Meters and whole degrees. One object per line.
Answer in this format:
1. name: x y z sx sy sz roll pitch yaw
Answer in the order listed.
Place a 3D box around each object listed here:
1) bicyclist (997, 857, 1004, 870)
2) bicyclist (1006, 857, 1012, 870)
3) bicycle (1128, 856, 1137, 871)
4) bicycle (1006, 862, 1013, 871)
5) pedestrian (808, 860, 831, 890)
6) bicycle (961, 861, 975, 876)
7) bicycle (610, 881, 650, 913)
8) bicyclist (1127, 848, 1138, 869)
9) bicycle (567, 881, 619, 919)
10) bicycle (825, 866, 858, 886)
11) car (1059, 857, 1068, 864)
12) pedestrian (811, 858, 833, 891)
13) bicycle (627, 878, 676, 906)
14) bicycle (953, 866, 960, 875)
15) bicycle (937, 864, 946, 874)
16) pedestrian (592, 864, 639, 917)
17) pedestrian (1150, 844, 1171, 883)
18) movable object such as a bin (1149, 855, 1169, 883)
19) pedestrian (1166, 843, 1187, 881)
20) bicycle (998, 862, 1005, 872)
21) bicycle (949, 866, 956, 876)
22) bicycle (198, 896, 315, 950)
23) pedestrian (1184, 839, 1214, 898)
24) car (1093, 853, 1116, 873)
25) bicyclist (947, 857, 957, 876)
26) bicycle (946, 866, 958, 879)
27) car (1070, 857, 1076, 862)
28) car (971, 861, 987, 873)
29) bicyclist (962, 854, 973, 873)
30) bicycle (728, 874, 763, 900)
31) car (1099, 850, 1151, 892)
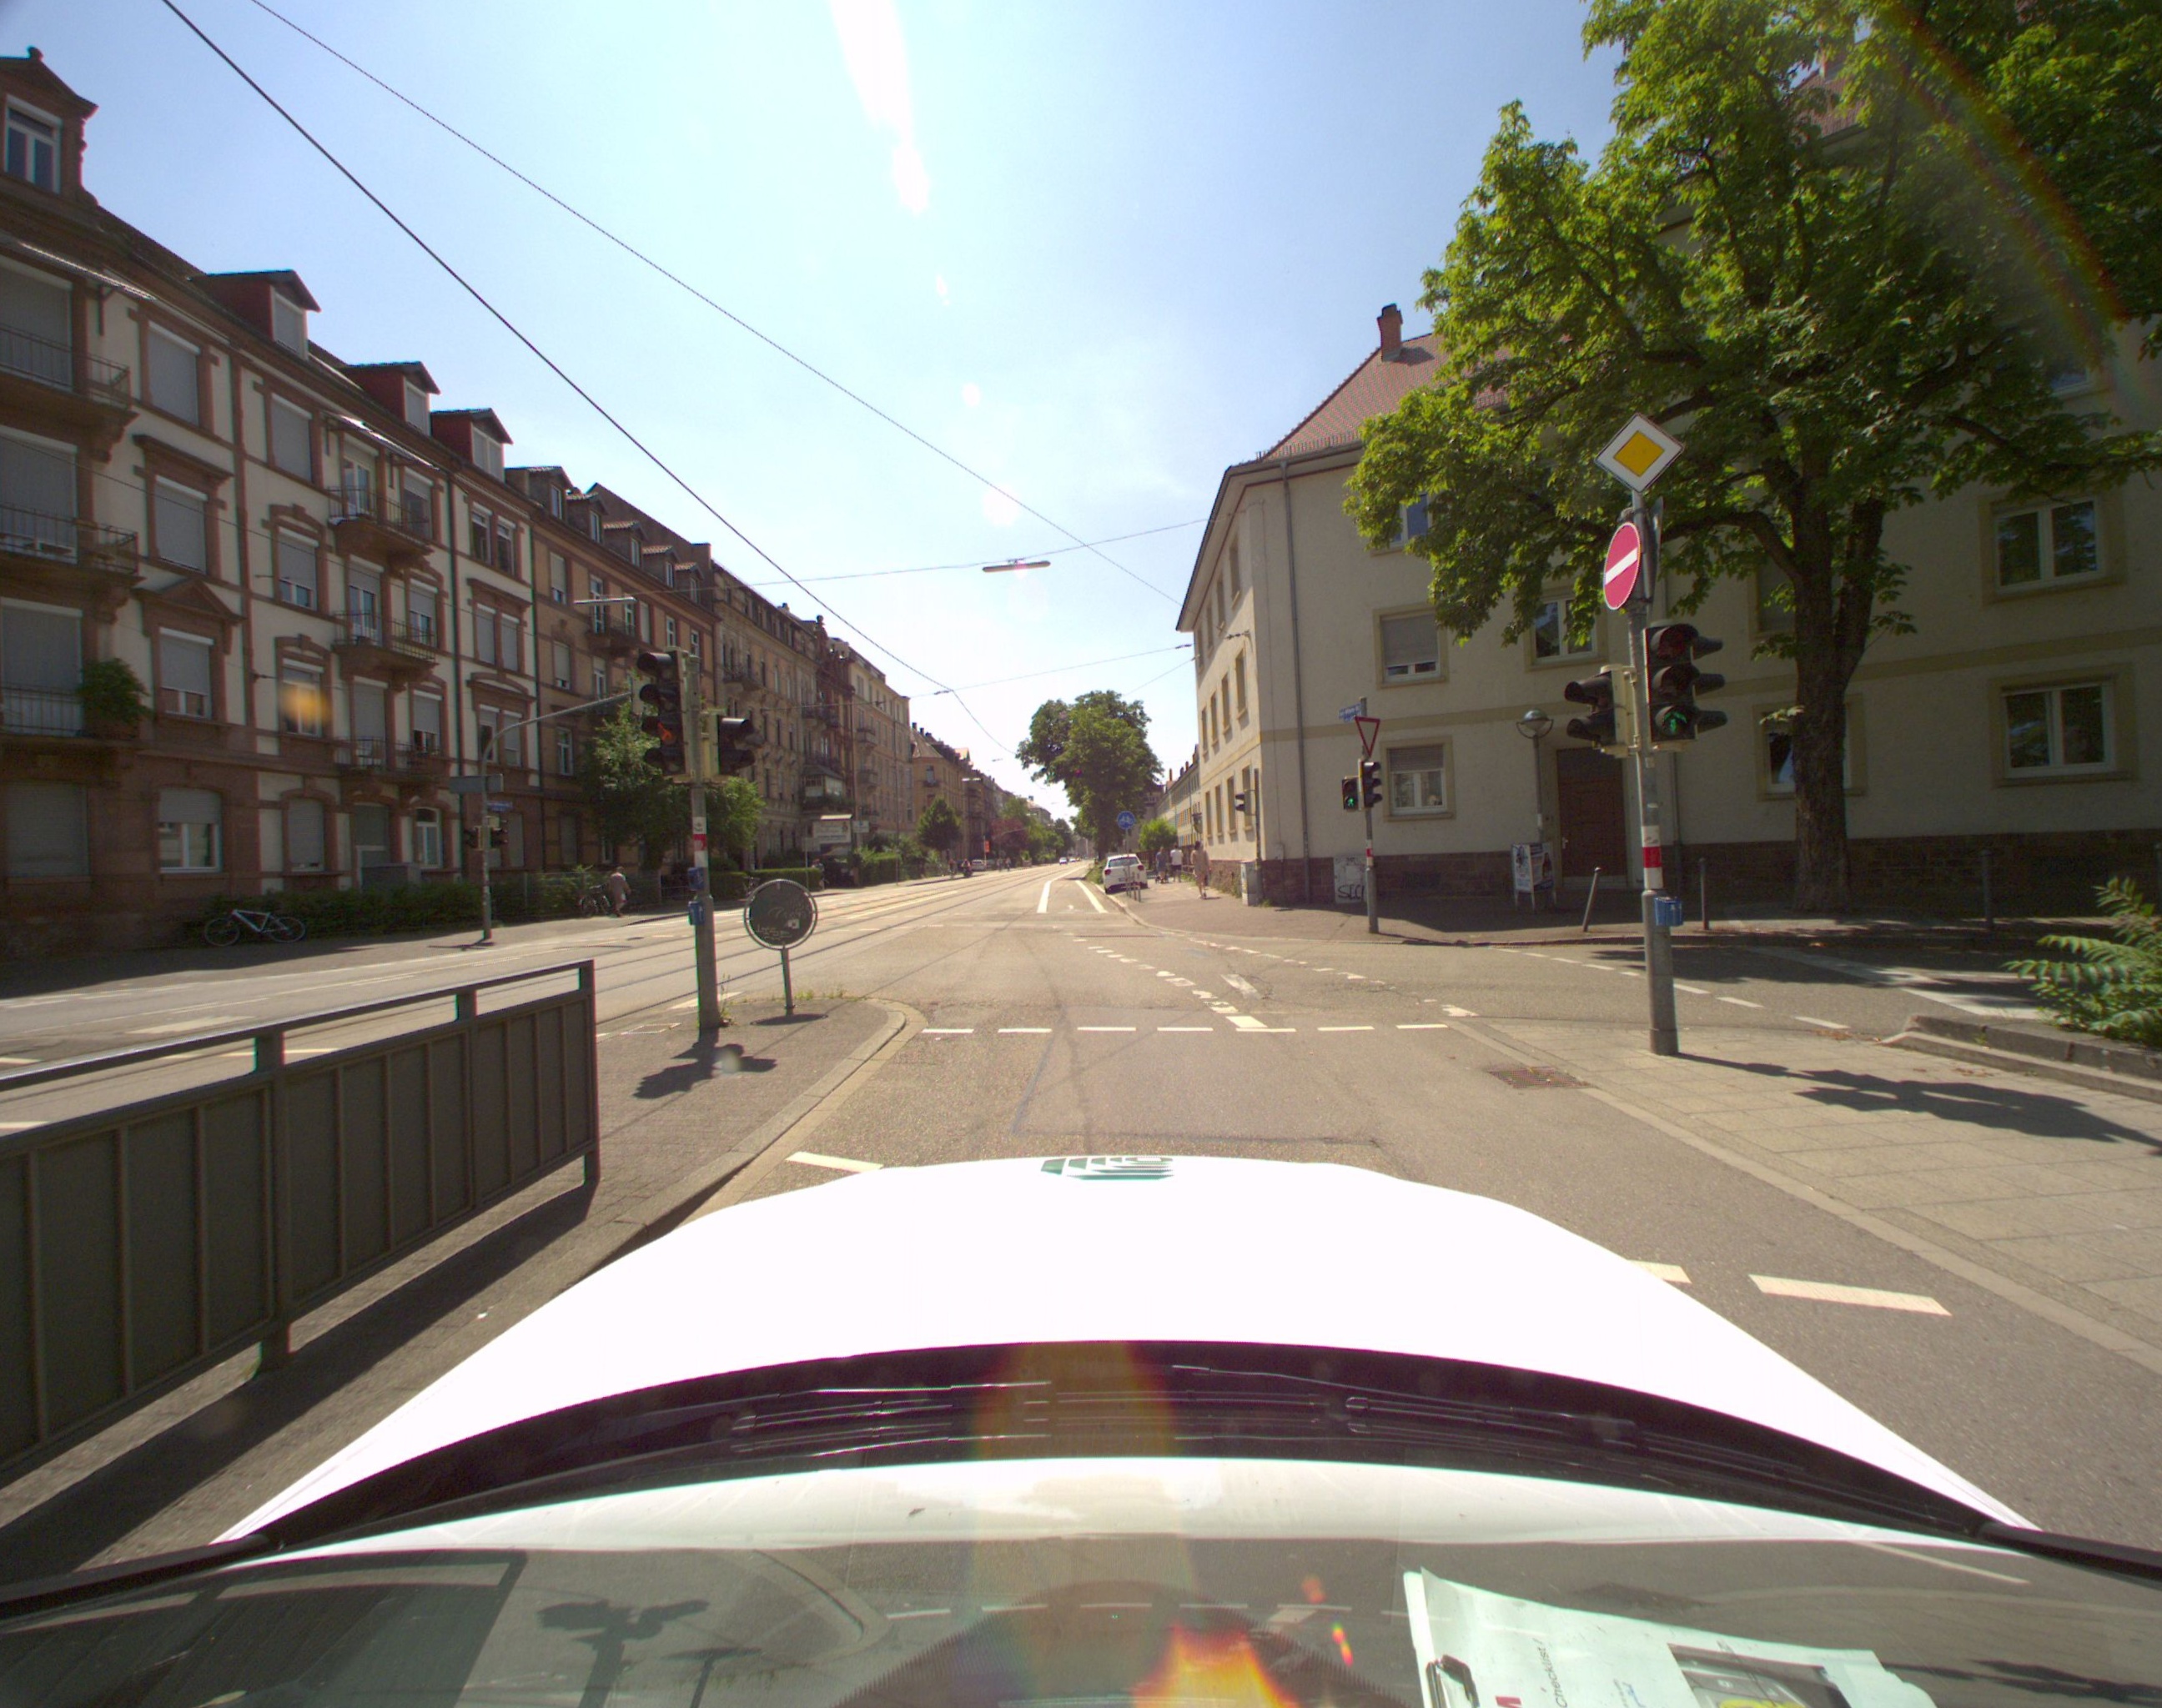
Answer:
1. bicyclist: -9.845 1.123 100.050 0.632 1.584 1.028 -4 0 1
2. bicyclist: -8.852 1.122 100.379 0.590 1.544 0.952 -4 0 1
3. bicycle: 3.642 0.669 57.740 0.599 1.051 1.824 -3 0 4
4. bicycle: -8.826 1.553 100.360 0.579 1.078 1.891 -4 0 1
5. pedestrian: -15.593 1.253 48.543 0.899 1.700 0.829 -3 0 28
6. bicycle: -10.283 1.308 74.014 0.804 1.271 2.552 -3 0 2
7. bicycle: -16.342 1.558 29.544 0.457 1.056 1.566 -2 0 5
8. bicyclist: 3.631 0.335 57.762 0.708 1.452 1.011 -3 0 4
9. bicycle: -16.388 1.519 27.389 0.570 1.169 1.718 -2 0 5
10. bicycle: -15.286 1.387 52.000 1.865 1.227 0.568 -1 0 -2
11. car: -3.872 1.443 181.522 1.679 1.449 4.001 -3 0 1
12. pedestrian: -15.125 1.185 47.542 0.867 1.857 0.821 -3 -1 43
13. bicycle: -17.072 1.513 32.379 1.639 0.996 0.495 -2 0 2
14. bicycle: -13.166 1.729 85.836 0.437 0.983 1.710 -2 0 0
15. bicycle: -13.479 1.446 78.654 0.495 0.987 1.710 2 0 0
16. pedestrian: -15.582 1.220 27.284 0.867 1.700 1.015 -2 0 7
17. pedestrian: 3.527 0.421 36.235 0.695 1.669 0.869 -5 0 0
18. movable object such as a bin: 3.564 0.663 37.191 0.695 1.186 1.036 -5 0 0
19. pedestrian: 4.307 0.362 36.677 0.695 1.669 0.756 -5 0 0
20. bicycle: -9.805 1.601 100.355 0.627 1.078 1.875 -4 0 1
21. bicycle: -13.239 1.722 83.795 0.437 0.983 1.710 -2 0 0
22. bicycle: -20.021 1.650 19.815 0.461 1.108 1.936 -3 0 40
23. pedestrian: 3.483 0.420 24.110 0.695 1.669 0.756 -2 0 0
24. car: 1.933 0.737 67.306 1.652 1.515 3.998 -3 0 -1
25. bicyclist: -10.646 1.057 67.097 0.560 1.515 0.892 -3 0 2
26. bicycle: -10.633 1.527 67.082 0.565 1.038 1.830 -3 0 2
27. car: -2.362 1.735 240.146 1.749 1.424 4.002 -3 0 2
28. car: -14.030 1.718 111.907 1.862 1.600 4.096 -1 0 -3
29. bicyclist: -10.307 0.845 73.976 0.804 1.629 0.981 -3 0 2
30. bicycle: -15.267 1.478 37.132 0.635 1.093 1.934 0 0 5
31. car: 1.744 0.673 33.297 1.772 1.410 4.156 -7 0 0
